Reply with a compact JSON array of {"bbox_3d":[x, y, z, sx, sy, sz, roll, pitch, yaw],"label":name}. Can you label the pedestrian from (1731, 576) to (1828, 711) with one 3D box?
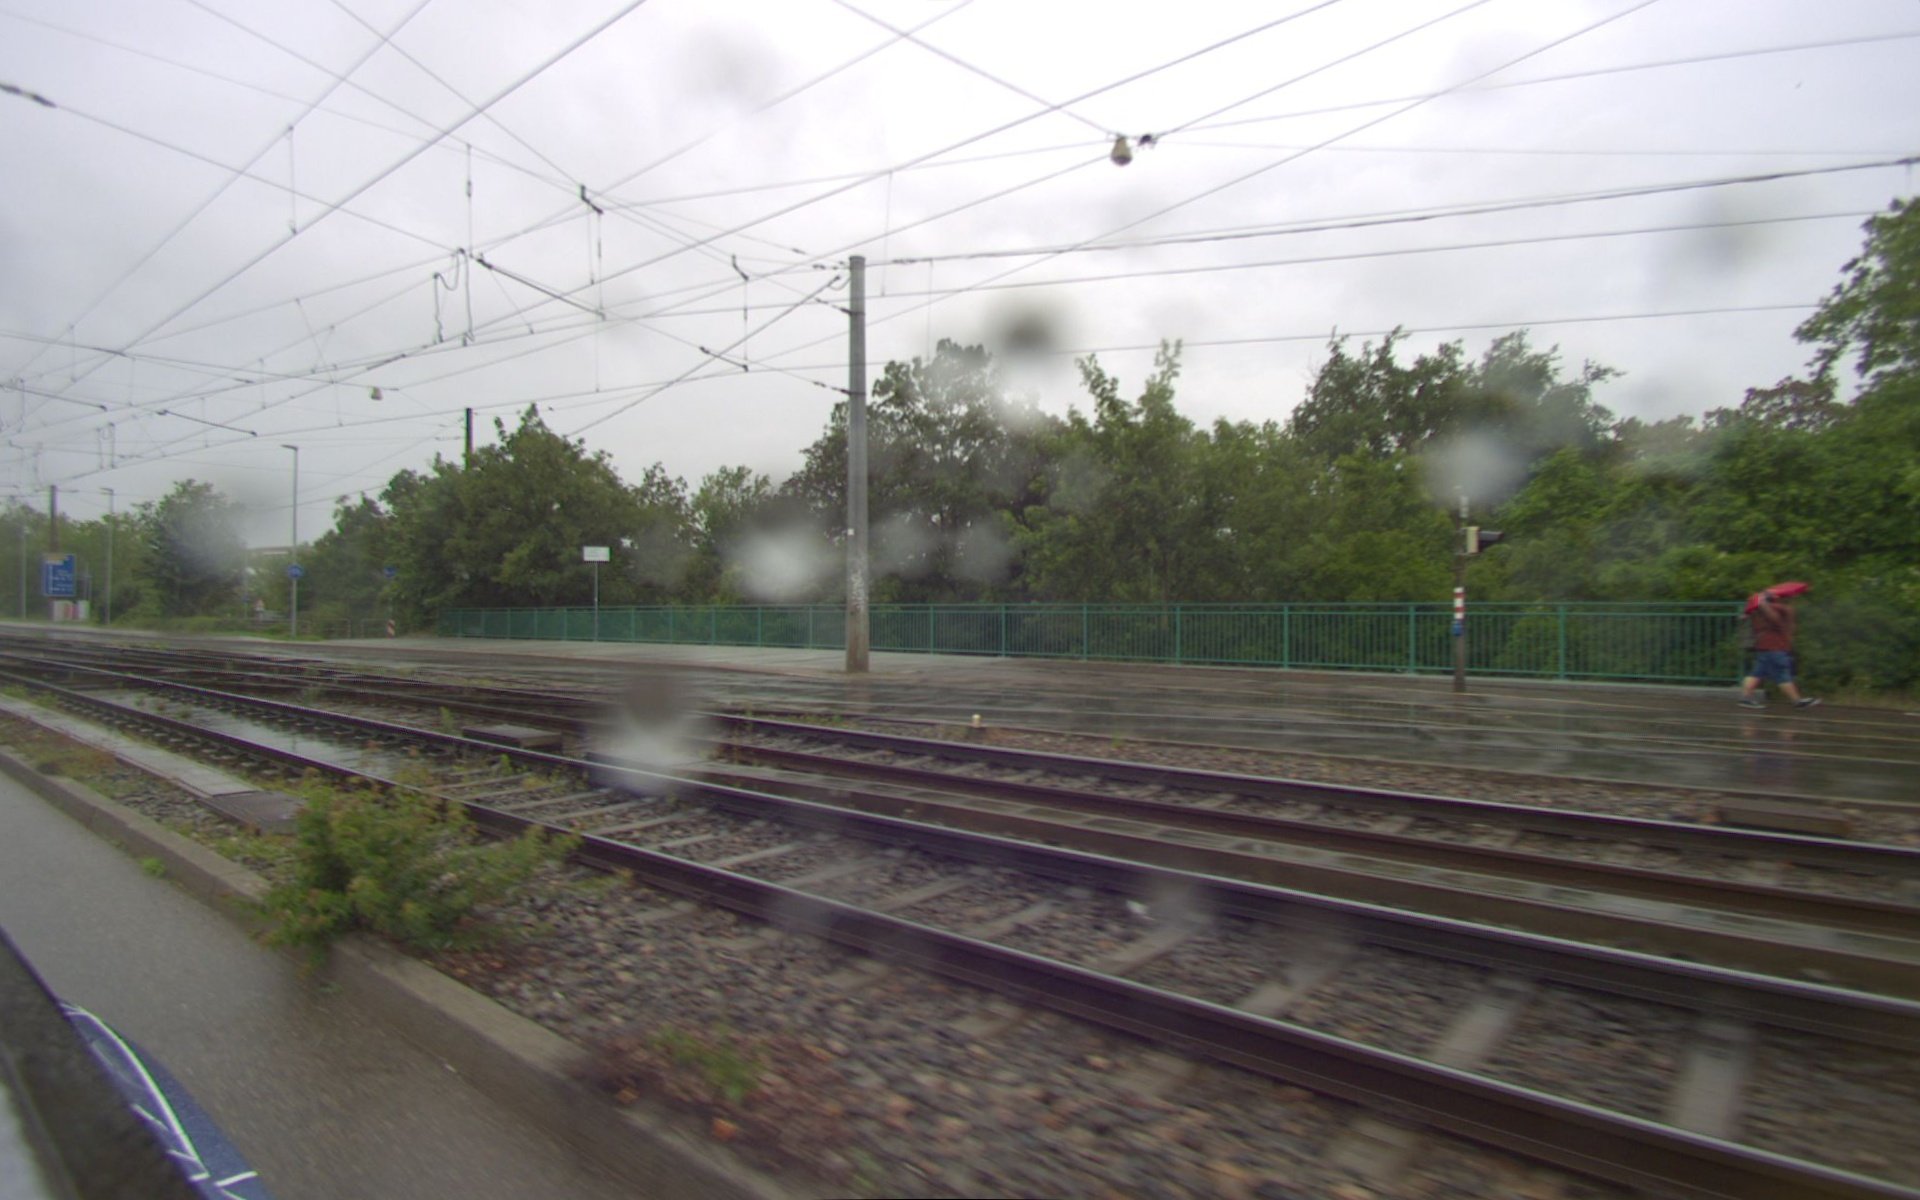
[{"bbox_3d":[11.630,0.580,14.381,1.042,1.832,0.856,0,1,39],"label":"pedestrian"}]
